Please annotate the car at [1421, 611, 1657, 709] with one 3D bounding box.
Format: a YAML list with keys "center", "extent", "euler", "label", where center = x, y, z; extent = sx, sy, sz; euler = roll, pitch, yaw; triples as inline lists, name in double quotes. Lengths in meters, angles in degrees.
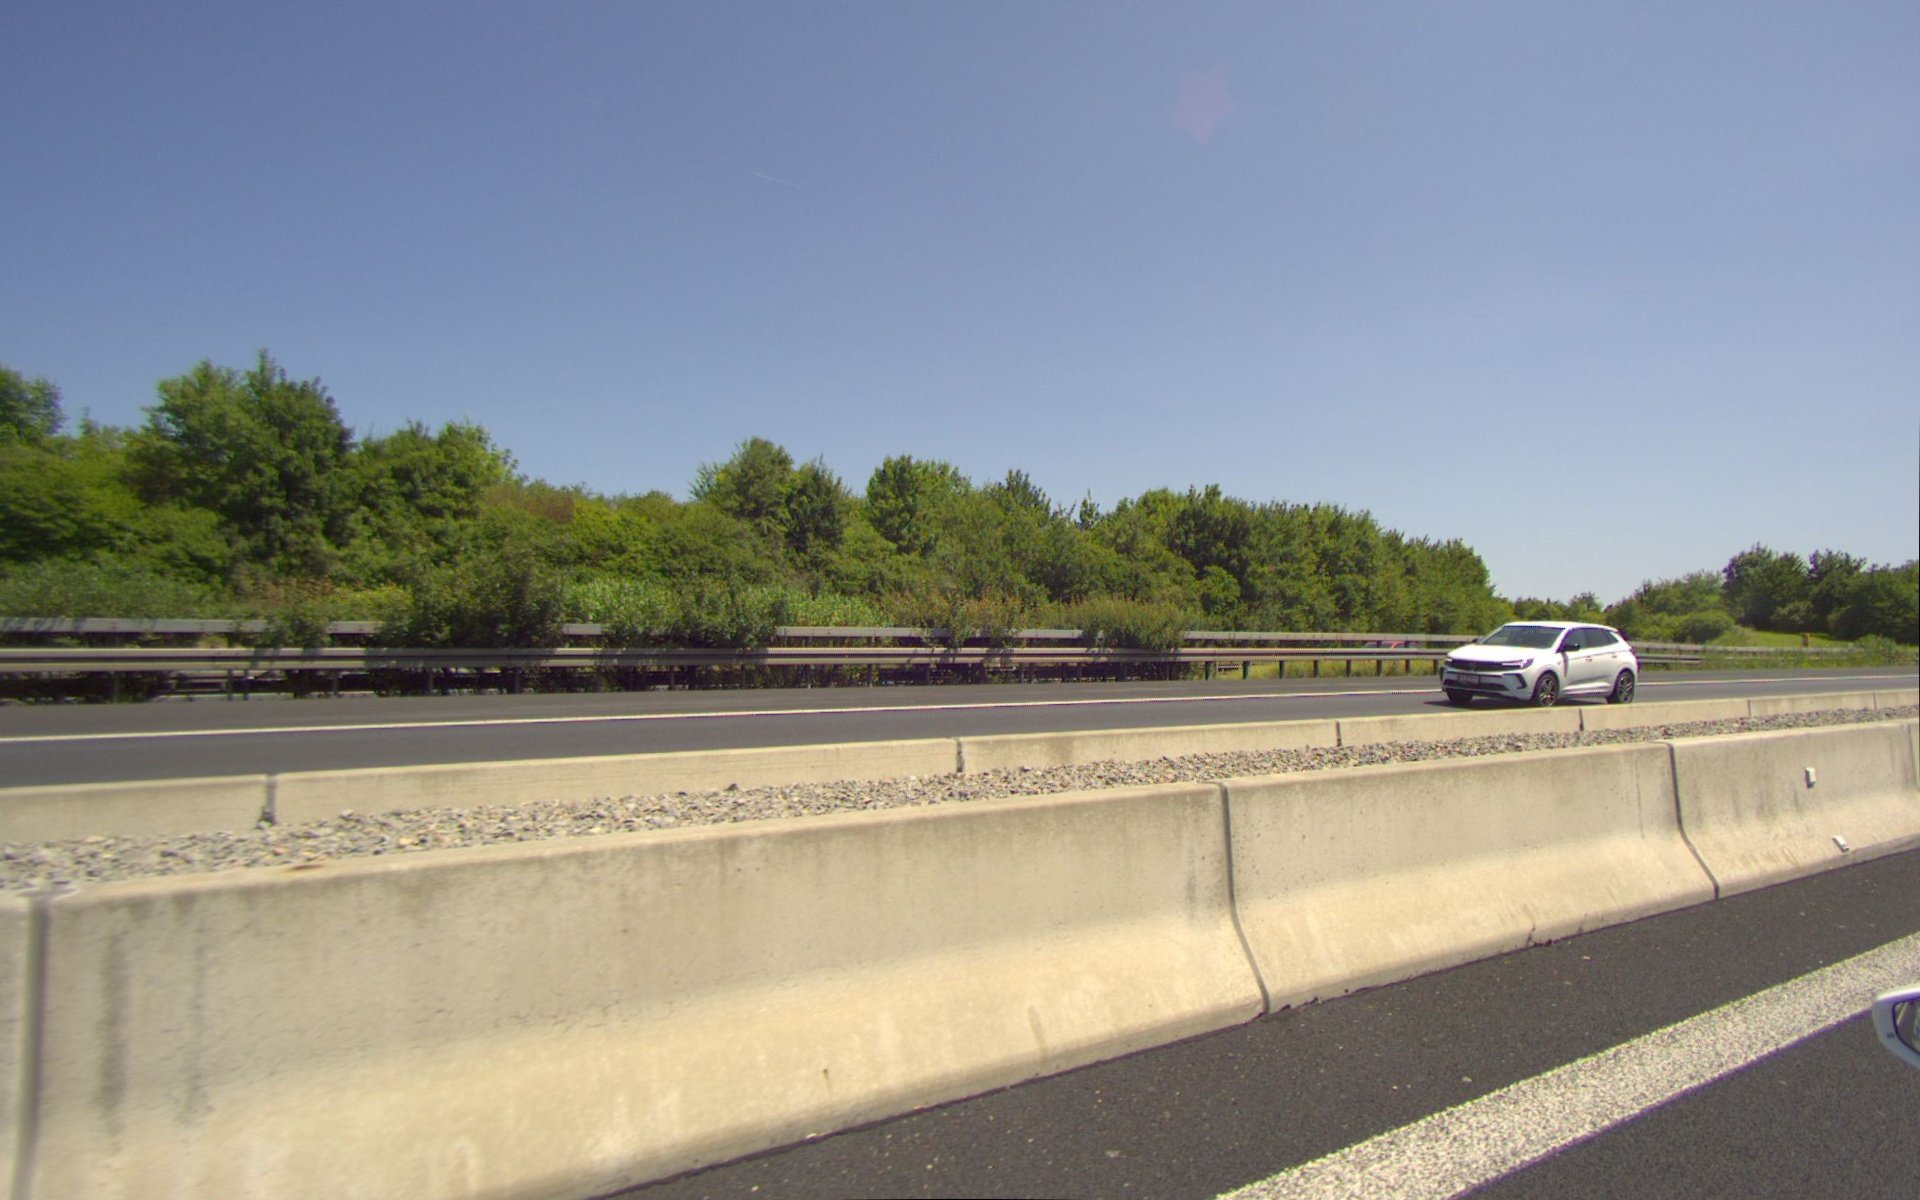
- center: [11.252, 1.132, 19.461]
  extent: [4.607, 1.687, 1.860]
  euler: [2, -1, -29]
  label: "car"
